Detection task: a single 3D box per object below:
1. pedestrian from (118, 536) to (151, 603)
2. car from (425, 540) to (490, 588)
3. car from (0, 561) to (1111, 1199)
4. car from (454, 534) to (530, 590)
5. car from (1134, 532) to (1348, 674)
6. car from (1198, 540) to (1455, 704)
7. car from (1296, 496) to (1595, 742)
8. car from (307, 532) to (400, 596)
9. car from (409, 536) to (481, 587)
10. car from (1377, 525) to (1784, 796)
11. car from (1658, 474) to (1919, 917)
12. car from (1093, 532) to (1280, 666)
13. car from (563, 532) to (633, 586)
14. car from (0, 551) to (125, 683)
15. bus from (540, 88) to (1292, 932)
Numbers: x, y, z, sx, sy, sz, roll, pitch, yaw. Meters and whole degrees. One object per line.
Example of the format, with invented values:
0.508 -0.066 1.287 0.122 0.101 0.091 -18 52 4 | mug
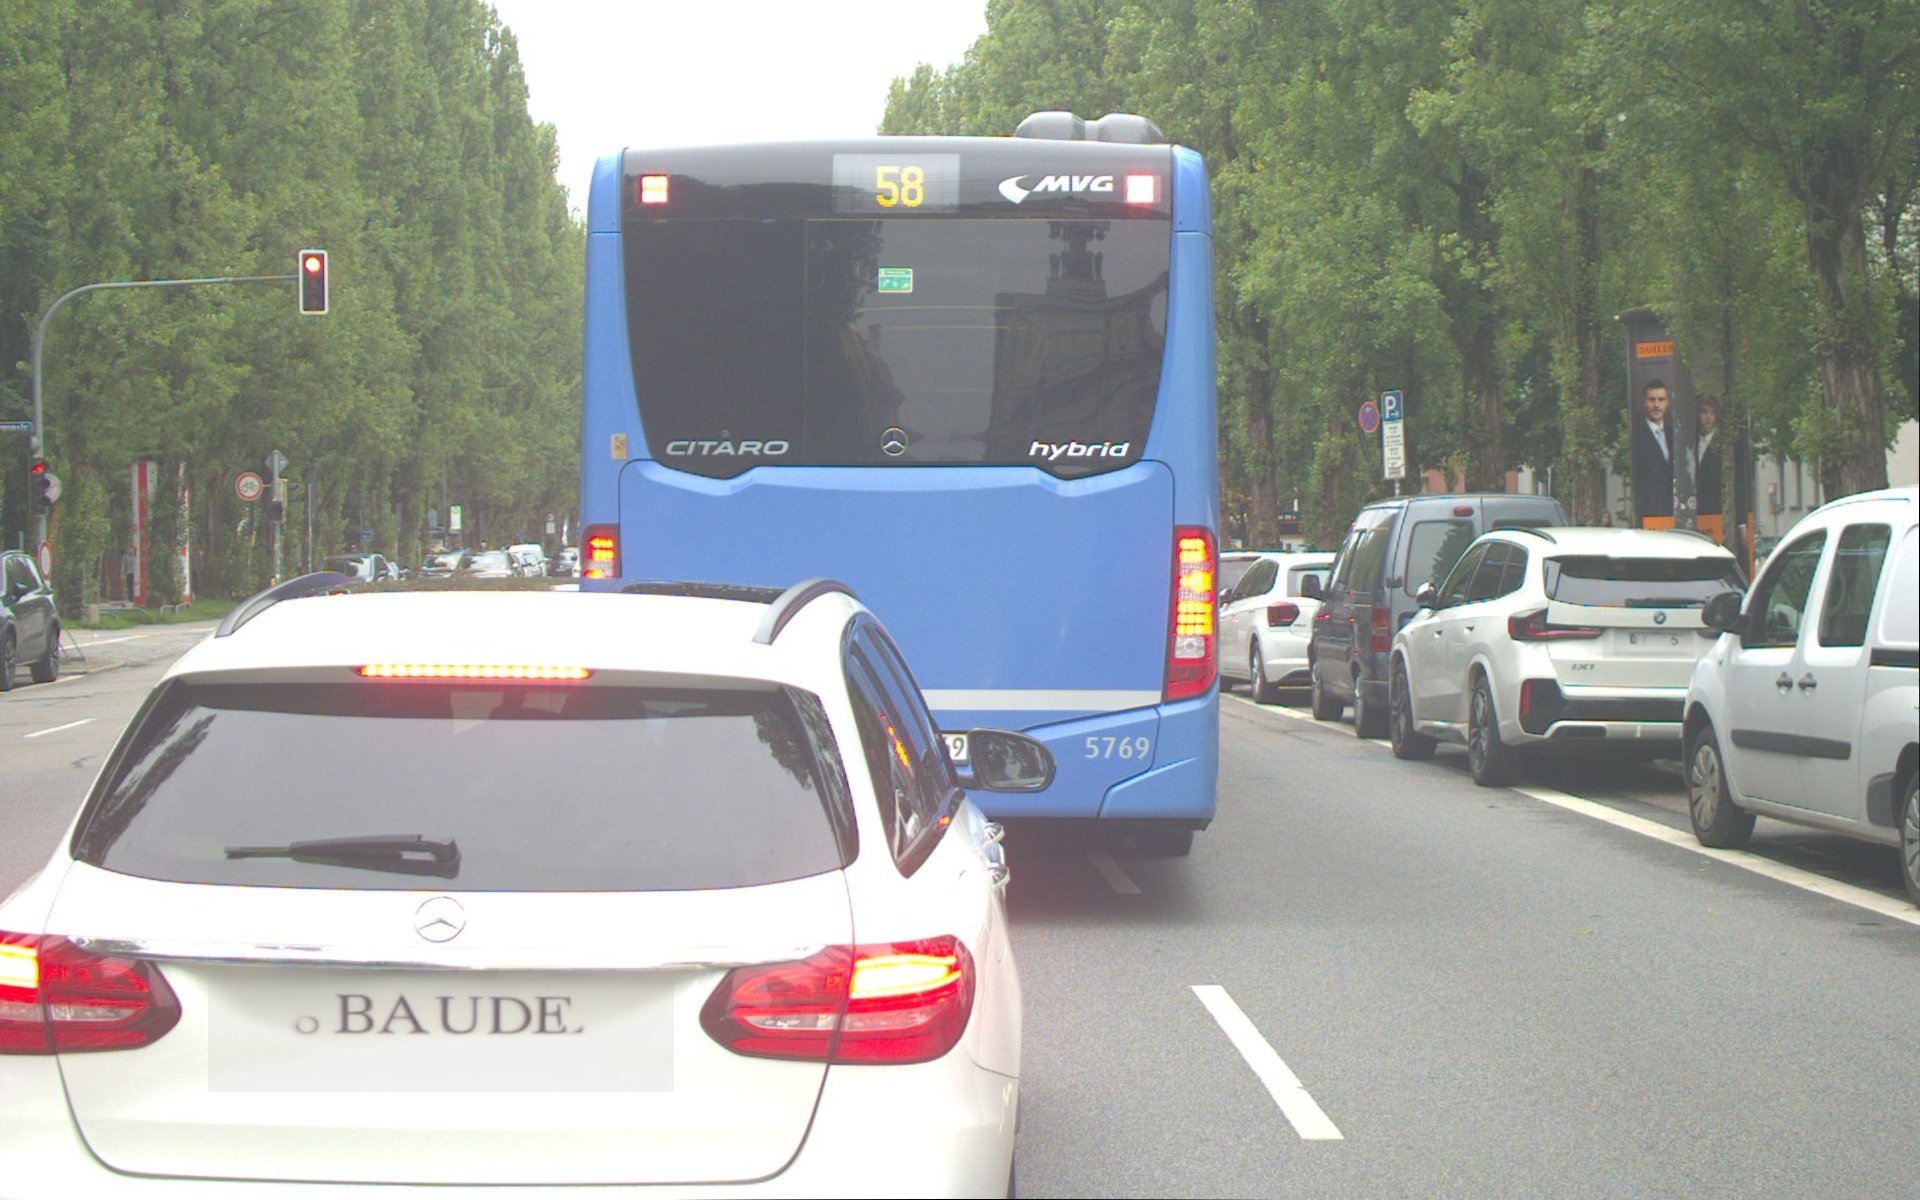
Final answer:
-24.928 -0.919 103.870 0.830 2.007 0.778 -1 1 -7 | pedestrian
-16.527 -1.197 113.206 1.821 1.481 4.001 -1 1 -4 | car
-0.745 0.659 7.237 1.825 1.449 4.583 0 1 -1 | car
-12.962 -1.067 95.424 1.821 1.481 4.001 -1 1 -4 | car
3.142 -0.009 39.135 1.785 1.486 4.001 -1 1 -4 | car
3.557 0.166 34.009 1.798 1.470 4.001 -1 1 -5 | car
3.833 0.098 27.762 1.703 1.829 4.001 0 1 -2 | car
-14.877 -0.903 84.468 1.821 1.481 4.001 -1 1 -4 | car
-15.500 -1.172 103.673 1.821 1.481 4.001 -1 1 -4 | car
3.939 0.315 22.479 1.677 1.590 4.088 1 1 -3 | car
4.630 0.364 15.346 1.833 1.767 4.231 1 1 -5 | car
2.865 -0.054 44.292 1.808 1.612 4.001 -1 1 -5 | car
-11.226 -1.283 106.863 1.993 1.613 4.001 -1 1 -4 | car
-11.821 0.186 43.475 1.707 1.546 4.001 -1 1 -3 | car
0.061 -0.442 17.664 2.856 3.202 9.059 0 1 3 | bus
